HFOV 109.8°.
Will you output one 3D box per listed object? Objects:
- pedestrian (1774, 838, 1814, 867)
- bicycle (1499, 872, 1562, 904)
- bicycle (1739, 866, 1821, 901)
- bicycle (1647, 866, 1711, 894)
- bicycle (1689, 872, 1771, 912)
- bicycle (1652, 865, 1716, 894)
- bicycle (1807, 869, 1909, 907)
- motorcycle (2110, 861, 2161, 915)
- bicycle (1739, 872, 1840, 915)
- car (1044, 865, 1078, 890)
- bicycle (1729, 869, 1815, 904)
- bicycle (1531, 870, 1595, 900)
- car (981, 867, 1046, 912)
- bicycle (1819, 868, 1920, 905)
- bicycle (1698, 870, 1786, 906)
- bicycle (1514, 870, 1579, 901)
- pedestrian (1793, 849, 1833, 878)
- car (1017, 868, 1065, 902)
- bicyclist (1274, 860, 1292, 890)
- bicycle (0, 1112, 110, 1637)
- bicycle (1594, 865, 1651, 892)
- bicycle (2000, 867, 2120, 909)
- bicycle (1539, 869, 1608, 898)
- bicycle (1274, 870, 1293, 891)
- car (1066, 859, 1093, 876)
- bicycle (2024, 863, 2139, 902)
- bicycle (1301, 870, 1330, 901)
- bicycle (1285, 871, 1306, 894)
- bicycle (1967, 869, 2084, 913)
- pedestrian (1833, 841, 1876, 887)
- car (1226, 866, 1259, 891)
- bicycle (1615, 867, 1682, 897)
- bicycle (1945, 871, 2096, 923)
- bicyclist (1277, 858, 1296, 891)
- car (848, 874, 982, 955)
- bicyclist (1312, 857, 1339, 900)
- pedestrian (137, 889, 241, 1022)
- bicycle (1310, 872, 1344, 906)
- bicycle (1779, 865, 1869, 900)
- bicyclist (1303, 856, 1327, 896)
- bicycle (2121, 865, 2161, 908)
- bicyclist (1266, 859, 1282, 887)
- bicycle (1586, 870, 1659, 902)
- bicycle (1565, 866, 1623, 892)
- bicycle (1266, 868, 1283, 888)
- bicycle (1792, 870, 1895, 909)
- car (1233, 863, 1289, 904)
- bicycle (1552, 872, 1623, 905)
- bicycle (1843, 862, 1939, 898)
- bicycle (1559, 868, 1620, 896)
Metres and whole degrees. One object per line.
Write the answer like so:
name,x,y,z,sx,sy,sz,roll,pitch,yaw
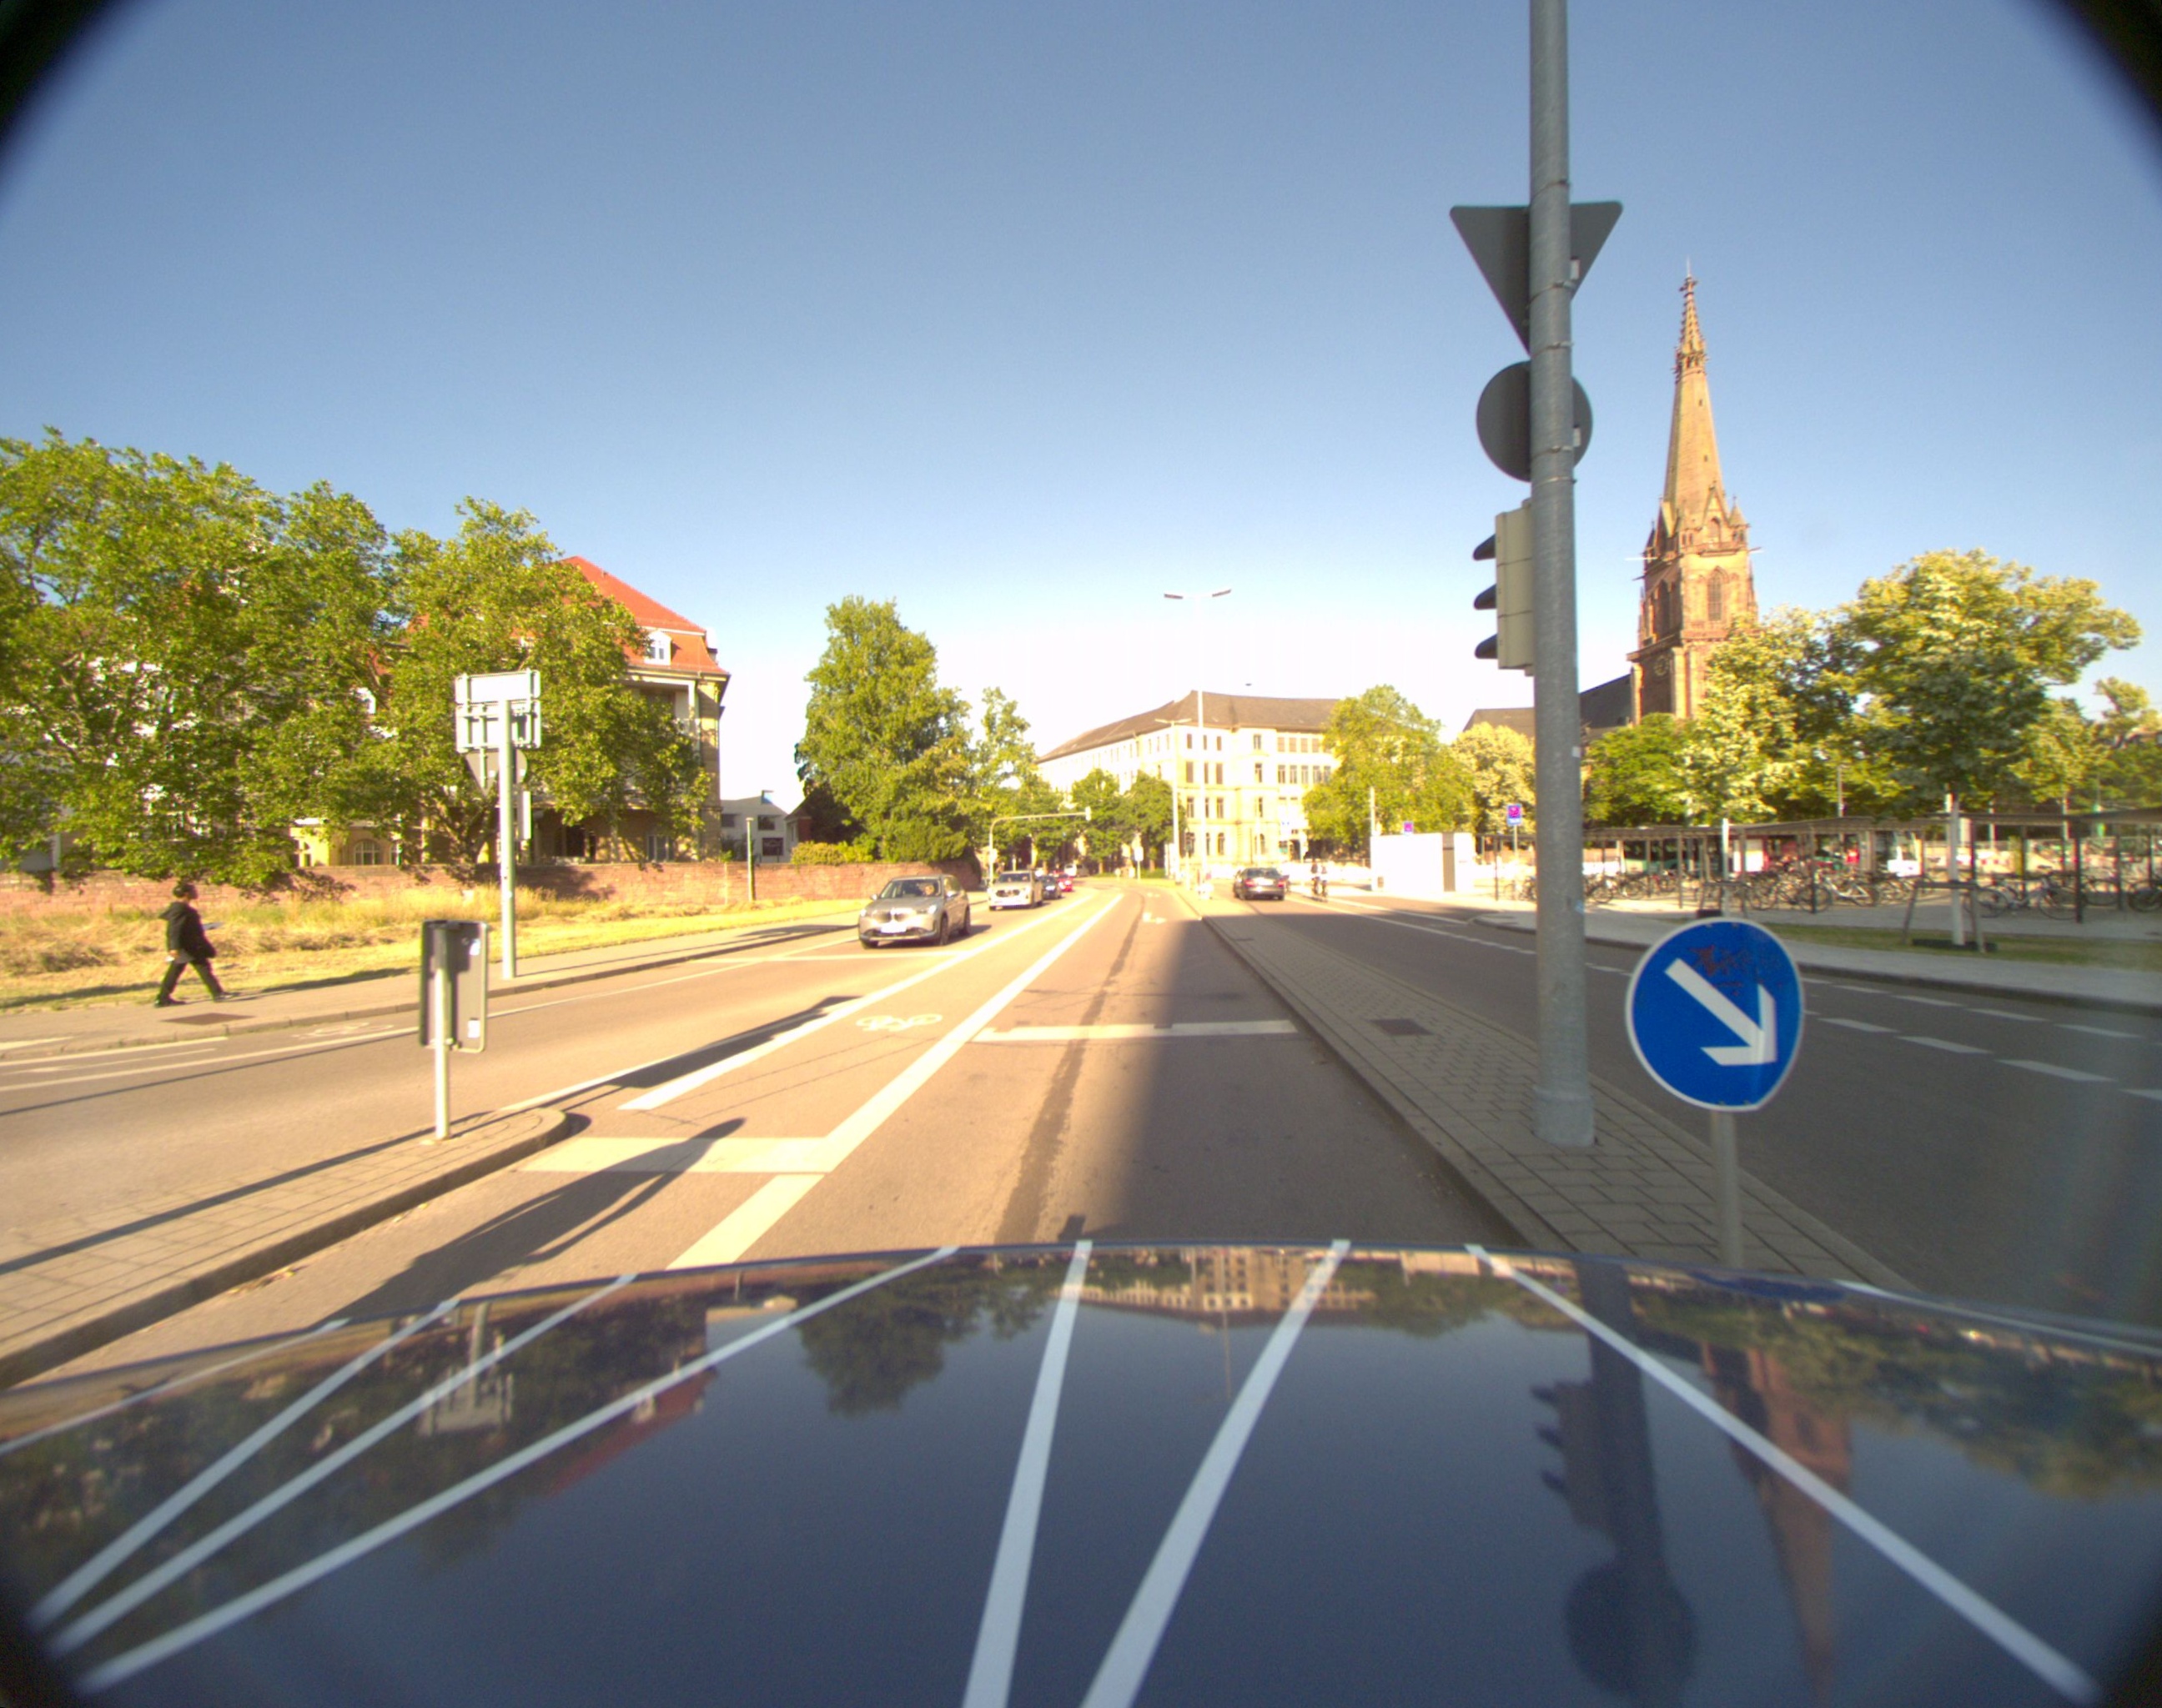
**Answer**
pedestrian,34.417,-0.059,36.686,1.054,1.341,1.077,-3,0,-27
bicycle,16.272,1.201,27.542,0.567,1.048,1.969,-3,1,-24
bicycle,23.452,0.979,25.535,0.537,1.083,1.927,-3,1,-31
bicycle,23.533,1.014,29.950,0.418,1.048,1.969,-3,1,-29
bicycle,19.466,1.122,22.838,0.486,1.099,1.796,-4,2,-36
bicycle,23.903,0.994,30.162,0.418,1.048,1.969,-3,1,-29
bicycle,23.277,1.004,22.810,0.605,1.038,2.029,-3,1,-26
motorcycle,25.776,0.776,17.502,0.720,1.240,2.352,-3,0,-28
bicycle,19.876,1.088,21.363,0.568,1.099,1.969,-3,1,-30
car,-1.454,1.714,56.645,2.193,1.576,4.607,-3,0,2
bicycle,22.408,1.036,24.671,0.768,1.038,1.927,-3,1,-32
bicycle,18.361,1.155,28.975,0.684,1.048,1.932,-3,1,-29
car,-2.873,1.513,33.491,2.193,1.674,4.607,-3,0,2
bicycle,24.519,0.987,23.679,0.605,1.038,2.103,-3,1,-32
bicycle,21.007,1.066,24.195,0.867,1.038,1.927,-3,1,-32
bicycle,17.471,1.162,28.567,0.684,1.048,2.018,-3,1,-29
pedestrian,35.754,0.490,37.114,1.054,1.341,1.077,-3,0,-27
car,-2.194,1.691,42.586,2.193,1.576,4.607,-3,0,2
bicyclist,11.247,1.145,42.316,0.865,1.643,0.945,-1,0,12
bicycle,-2.854,1.208,0.867,0.719,1.115,2.067,-2,0,4
bicycle,22.665,1.005,31.841,0.418,1.048,1.969,-3,1,-29
bicycle,26.348,0.897,20.489,0.524,1.038,1.927,-3,1,-31
bicycle,19.519,1.151,30.140,0.839,1.048,2.114,-3,1,-32
bicycle,11.268,1.479,42.351,0.881,1.091,2.191,-1,0,12
car,-0.219,1.954,108.742,1.995,2.003,4.158,-1,4,30
bicycle,28.373,0.788,21.582,0.524,1.038,1.927,-3,1,-31
bicycle,10.269,1.361,33.313,0.764,1.180,2.607,-3,0,8
bicycle,10.982,1.435,38.932,0.881,1.091,2.191,-1,0,12
bicycle,24.142,0.927,19.457,0.524,1.038,1.844,-4,1,-35
pedestrian,35.701,0.465,35.070,1.136,2.002,1.028,-3,0,-27
car,9.170,1.361,43.244,1.382,1.330,3.505,-1,0,5
bicycle,21.615,1.041,28.976,0.568,1.048,1.968,-3,1,-32
bicycle,21.948,0.986,17.804,0.746,1.099,2.120,-3,0,-34
bicyclist,10.542,1.050,38.995,0.865,1.643,0.945,-1,0,11
car,-3.859,1.351,18.497,2.154,1.610,4.363,-1,0,2
bicyclist,9.722,0.961,30.245,0.764,1.658,1.062,-3,0,8
pedestrian,-11.910,1.314,10.172,0.795,1.643,0.710,1,2,-40
bicycle,9.740,1.372,30.176,0.764,1.180,2.607,-3,0,8
bicycle,24.878,0.932,25.471,0.567,1.083,2.067,-3,1,-31
bicyclist,10.256,0.950,33.363,0.764,1.658,1.062,-3,0,8
bicycle,27.290,0.813,18.781,0.524,1.038,1.844,-4,1,-34
bicyclist,11.529,1.145,45.365,0.865,1.643,0.945,-1,0,11
bicycle,19.406,1.117,27.273,0.759,1.048,1.969,-3,1,-30
bicycle,21.765,1.058,32.273,0.498,1.048,1.968,-4,1,-33
bicycle,11.505,1.433,45.274,0.881,1.091,2.191,-1,0,12
bicycle,22.299,1.024,22.265,0.605,1.038,2.029,-3,1,-29
car,7.640,1.213,32.613,1.804,1.436,3.979,-2,1,6
bicycle,17.504,1.175,26.290,0.568,1.048,1.968,-3,1,-32
bicycle,26.564,0.833,24.967,0.567,1.083,2.067,-3,1,-31
bicycle,20.621,1.115,30.847,0.512,1.048,1.968,-4,2,-37
